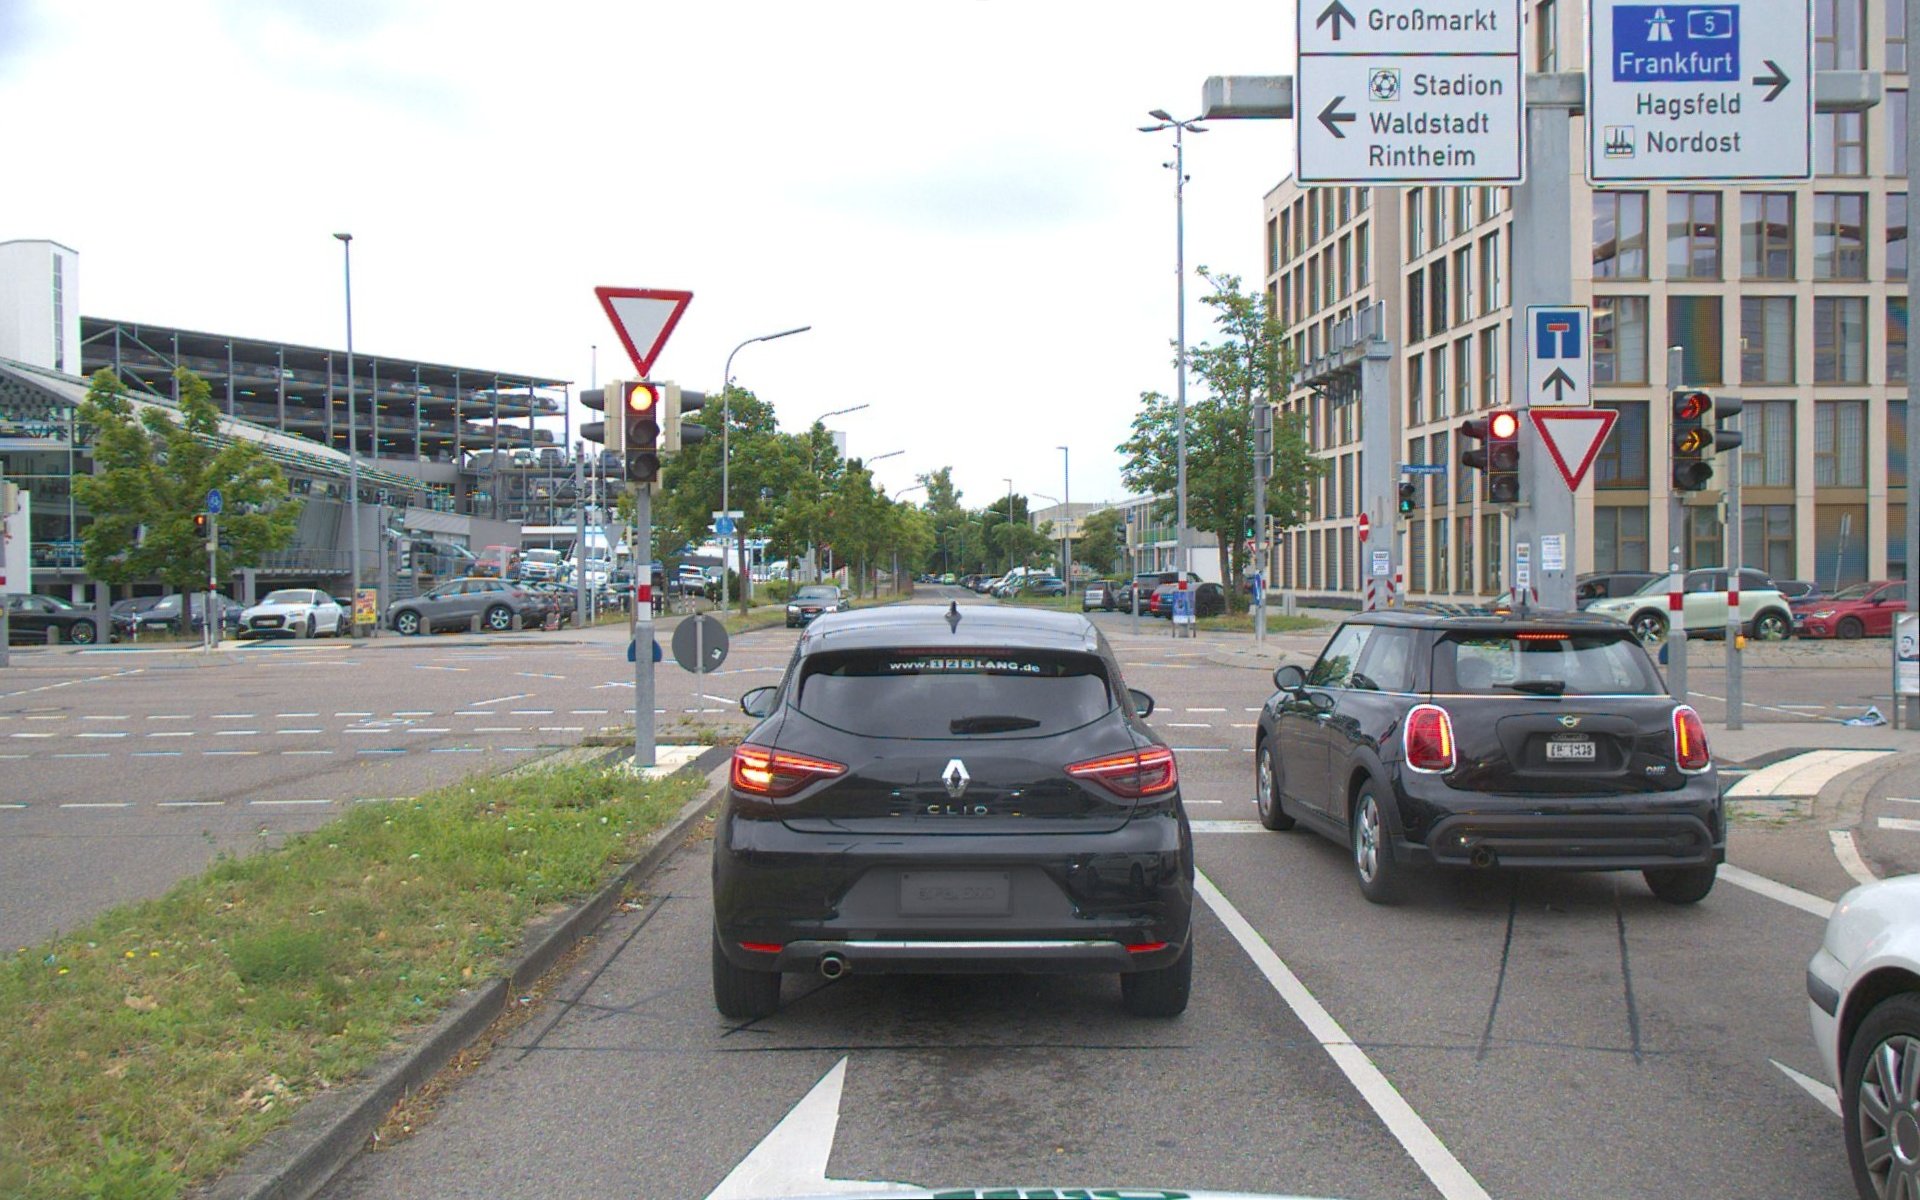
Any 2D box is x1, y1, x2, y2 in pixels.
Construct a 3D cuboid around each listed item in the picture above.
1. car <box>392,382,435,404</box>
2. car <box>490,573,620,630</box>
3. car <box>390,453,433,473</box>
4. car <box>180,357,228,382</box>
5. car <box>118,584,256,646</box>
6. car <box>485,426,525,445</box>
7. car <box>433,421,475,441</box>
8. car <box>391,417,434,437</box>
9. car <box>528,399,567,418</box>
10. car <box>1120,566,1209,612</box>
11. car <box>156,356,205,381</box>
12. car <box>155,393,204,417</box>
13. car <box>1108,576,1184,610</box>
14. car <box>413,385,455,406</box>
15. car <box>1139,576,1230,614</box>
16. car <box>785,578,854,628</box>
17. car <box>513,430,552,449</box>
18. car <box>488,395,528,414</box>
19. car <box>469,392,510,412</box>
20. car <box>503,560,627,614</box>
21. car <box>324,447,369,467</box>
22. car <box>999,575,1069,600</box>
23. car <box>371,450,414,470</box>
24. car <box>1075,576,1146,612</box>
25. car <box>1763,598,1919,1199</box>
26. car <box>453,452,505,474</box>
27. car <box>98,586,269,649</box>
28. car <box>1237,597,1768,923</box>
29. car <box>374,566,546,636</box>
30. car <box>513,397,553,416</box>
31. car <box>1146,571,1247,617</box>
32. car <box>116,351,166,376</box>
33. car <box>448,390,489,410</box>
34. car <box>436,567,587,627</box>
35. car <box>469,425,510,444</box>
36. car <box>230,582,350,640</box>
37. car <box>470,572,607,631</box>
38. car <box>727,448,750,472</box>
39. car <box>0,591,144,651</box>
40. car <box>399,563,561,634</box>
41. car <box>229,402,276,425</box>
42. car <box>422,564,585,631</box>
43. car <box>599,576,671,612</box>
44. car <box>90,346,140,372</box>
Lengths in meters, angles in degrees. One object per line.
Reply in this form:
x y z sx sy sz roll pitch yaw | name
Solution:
-54.385 -20.573 164.518 3.914 1.696 1.996 1 1 31 | car
-16.351 0.051 66.952 4.798 2.049 1.998 -2 0 -6 | car
-54.660 -13.670 164.827 3.914 1.696 1.996 1 1 31 | car
-66.141 -20.144 144.644 3.914 1.696 1.996 1 1 31 | car
-21.337 0.467 45.856 2.023 1.512 4.510 -2 -2 -6 | car
-48.363 -17.463 175.649 3.914 1.696 1.996 1 1 31 | car
-51.750 -17.241 169.155 3.914 1.696 1.996 1 1 31 | car
-54.392 -17.194 164.356 3.914 1.696 1.996 1 1 31 | car
-45.226 -20.936 181.174 3.914 1.696 1.996 1 1 31 | car
9.216 -0.495 74.375 1.963 2.000 4.221 -1 0 41 | car
-67.151 -19.953 142.448 3.914 1.696 1.996 1 1 31 | car
-67.170 -16.788 142.353 3.914 1.696 1.996 1 1 31 | car
8.782 -0.323 77.771 1.667 1.537 3.794 -1 0 42 | car
-53.068 -20.624 166.839 3.914 1.696 1.996 1 1 31 | car
9.673 -0.210 71.180 1.857 1.578 4.105 -1 0 44 | car
-4.726 0.066 56.229 1.938 1.578 4.614 0 1 0 | car
-46.285 -17.367 179.032 3.914 1.696 1.996 1 1 31 | car
-48.085 -20.787 175.833 3.914 1.696 1.996 1 1 31 | car
-49.440 -20.824 173.703 3.914 1.696 1.996 1 1 31 | car
-16.617 -0.543 69.782 4.798 2.049 1.998 -2 0 -6 | car
-58.488 -13.606 157.684 3.914 1.696 1.996 1 1 31 | car
5.538 -0.934 123.814 5.070 1.750 2.142 1 0 -3 | car
-55.729 -13.775 162.377 3.914 1.696 1.996 1 1 31 | car
7.671 -0.303 84.066 3.405 1.762 1.739 1 -1 -43 | car
3.071 0.757 2.422 1.795 1.504 4.004 1 0 -1 | car
-50.643 -14.418 174.131 5.212 1.979 2.208 1 1 28 | car
-25.792 0.552 55.070 4.706 1.973 1.999 -1 1 -4 | car
2.756 0.732 9.283 1.749 1.440 3.642 1 0 -1 | car
-15.271 0.034 50.734 4.680 1.895 1.998 -2 0 -6 | car
-46.293 -20.913 179.214 3.914 1.696 1.996 1 1 31 | car
9.571 -0.239 66.791 4.096 1.799 1.861 0 0 -41 | car
-69.294 -20.001 139.937 3.914 1.696 1.996 1 1 31 | car
-50.918 -20.694 171.474 3.914 1.696 1.996 1 1 31 | car
-15.925 -0.097 58.930 4.853 1.909 2.051 -2 0 -7 | car
-49.428 -17.407 173.676 3.914 1.696 1.996 1 1 31 | car
-18.586 0.337 46.088 1.832 1.512 4.226 -1 -1 -4 | car
-16.311 0.071 64.233 4.798 2.049 1.998 -2 0 -6 | car
-21.184 -13.378 158.552 1.955 1.915 3.996 -1 0 -5 | car
-25.314 0.595 45.606 4.646 1.512 1.891 -1 -2 -4 | car
-15.410 -0.038 53.301 4.610 2.049 1.998 -2 0 -5 | car
-63.549 -16.704 148.584 3.914 1.696 1.996 1 1 31 | car
-15.474 -0.088 56.308 4.925 2.049 2.263 -2 0 -5 | car
-19.360 -0.373 98.614 3.908 2.049 1.999 1 0 -4 | car
-70.371 -20.030 137.745 3.914 1.696 1.996 1 1 31 | car
